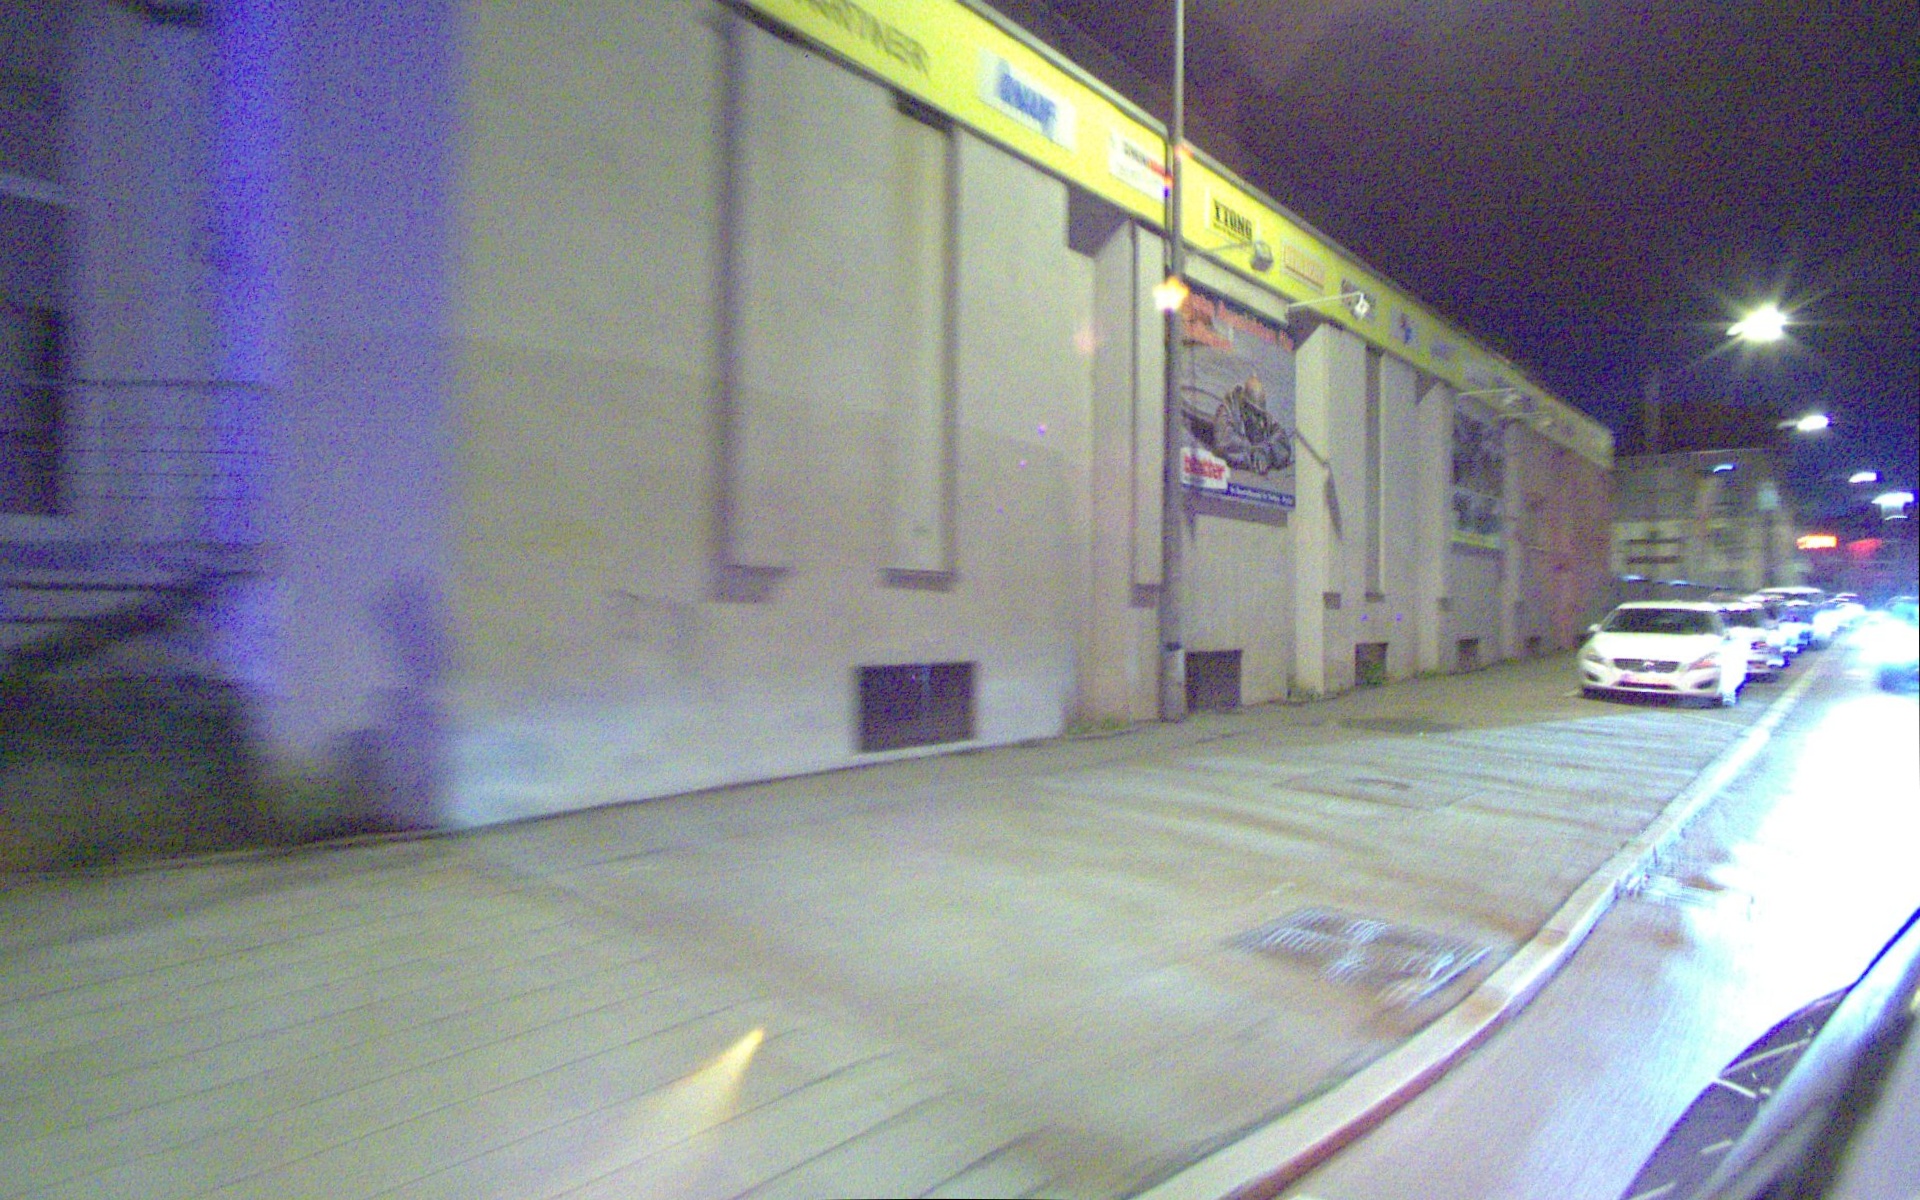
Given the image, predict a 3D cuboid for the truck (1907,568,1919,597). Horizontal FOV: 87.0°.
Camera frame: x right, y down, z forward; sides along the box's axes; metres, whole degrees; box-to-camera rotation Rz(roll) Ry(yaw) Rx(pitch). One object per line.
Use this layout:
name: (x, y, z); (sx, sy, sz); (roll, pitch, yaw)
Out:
truck: (128.303, -2.321, 130.115); (1.960, 3.769, 9.368); (-1, 1, -30)

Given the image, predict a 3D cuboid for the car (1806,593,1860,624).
car: (43.492, 0.377, 50.362); (1.779, 1.444, 4.410); (0, 1, 44)

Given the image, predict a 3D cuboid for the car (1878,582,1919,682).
car: (17.551, 0.525, 17.818); (1.992, 1.636, 3.940); (1, 1, 42)

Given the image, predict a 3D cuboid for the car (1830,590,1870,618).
car: (56.903, 0.236, 64.739); (1.818, 1.618, 4.158); (3, 3, 41)

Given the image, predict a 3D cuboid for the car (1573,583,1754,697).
car: (11.080, 0.499, 15.803); (1.858, 1.507, 4.479); (0, 1, 41)

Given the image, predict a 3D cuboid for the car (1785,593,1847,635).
car: (33.009, 0.513, 38.992); (1.595, 1.485, 3.830); (0, 1, 44)

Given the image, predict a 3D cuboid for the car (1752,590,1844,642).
car: (26.015, 0.446, 31.386); (1.817, 1.445, 4.121); (2, 2, 45)

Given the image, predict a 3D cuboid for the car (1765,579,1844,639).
car: (29.599, 0.273, 35.412); (1.800, 1.898, 4.699); (3, 2, 43)

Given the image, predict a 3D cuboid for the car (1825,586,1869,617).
car: (60.427, 0.073, 68.896); (2.072, 1.952, 5.288); (2, 2, 43)

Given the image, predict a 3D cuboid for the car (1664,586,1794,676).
car: (15.339, 0.527, 20.089); (1.773, 1.563, 4.479); (0, 1, 41)

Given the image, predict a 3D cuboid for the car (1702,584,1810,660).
car: (19.302, 0.471, 24.457); (1.822, 1.643, 4.391); (1, 1, 41)

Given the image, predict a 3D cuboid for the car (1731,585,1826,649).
car: (22.839, 0.427, 28.181); (1.822, 1.608, 4.558); (1, 1, 42)
